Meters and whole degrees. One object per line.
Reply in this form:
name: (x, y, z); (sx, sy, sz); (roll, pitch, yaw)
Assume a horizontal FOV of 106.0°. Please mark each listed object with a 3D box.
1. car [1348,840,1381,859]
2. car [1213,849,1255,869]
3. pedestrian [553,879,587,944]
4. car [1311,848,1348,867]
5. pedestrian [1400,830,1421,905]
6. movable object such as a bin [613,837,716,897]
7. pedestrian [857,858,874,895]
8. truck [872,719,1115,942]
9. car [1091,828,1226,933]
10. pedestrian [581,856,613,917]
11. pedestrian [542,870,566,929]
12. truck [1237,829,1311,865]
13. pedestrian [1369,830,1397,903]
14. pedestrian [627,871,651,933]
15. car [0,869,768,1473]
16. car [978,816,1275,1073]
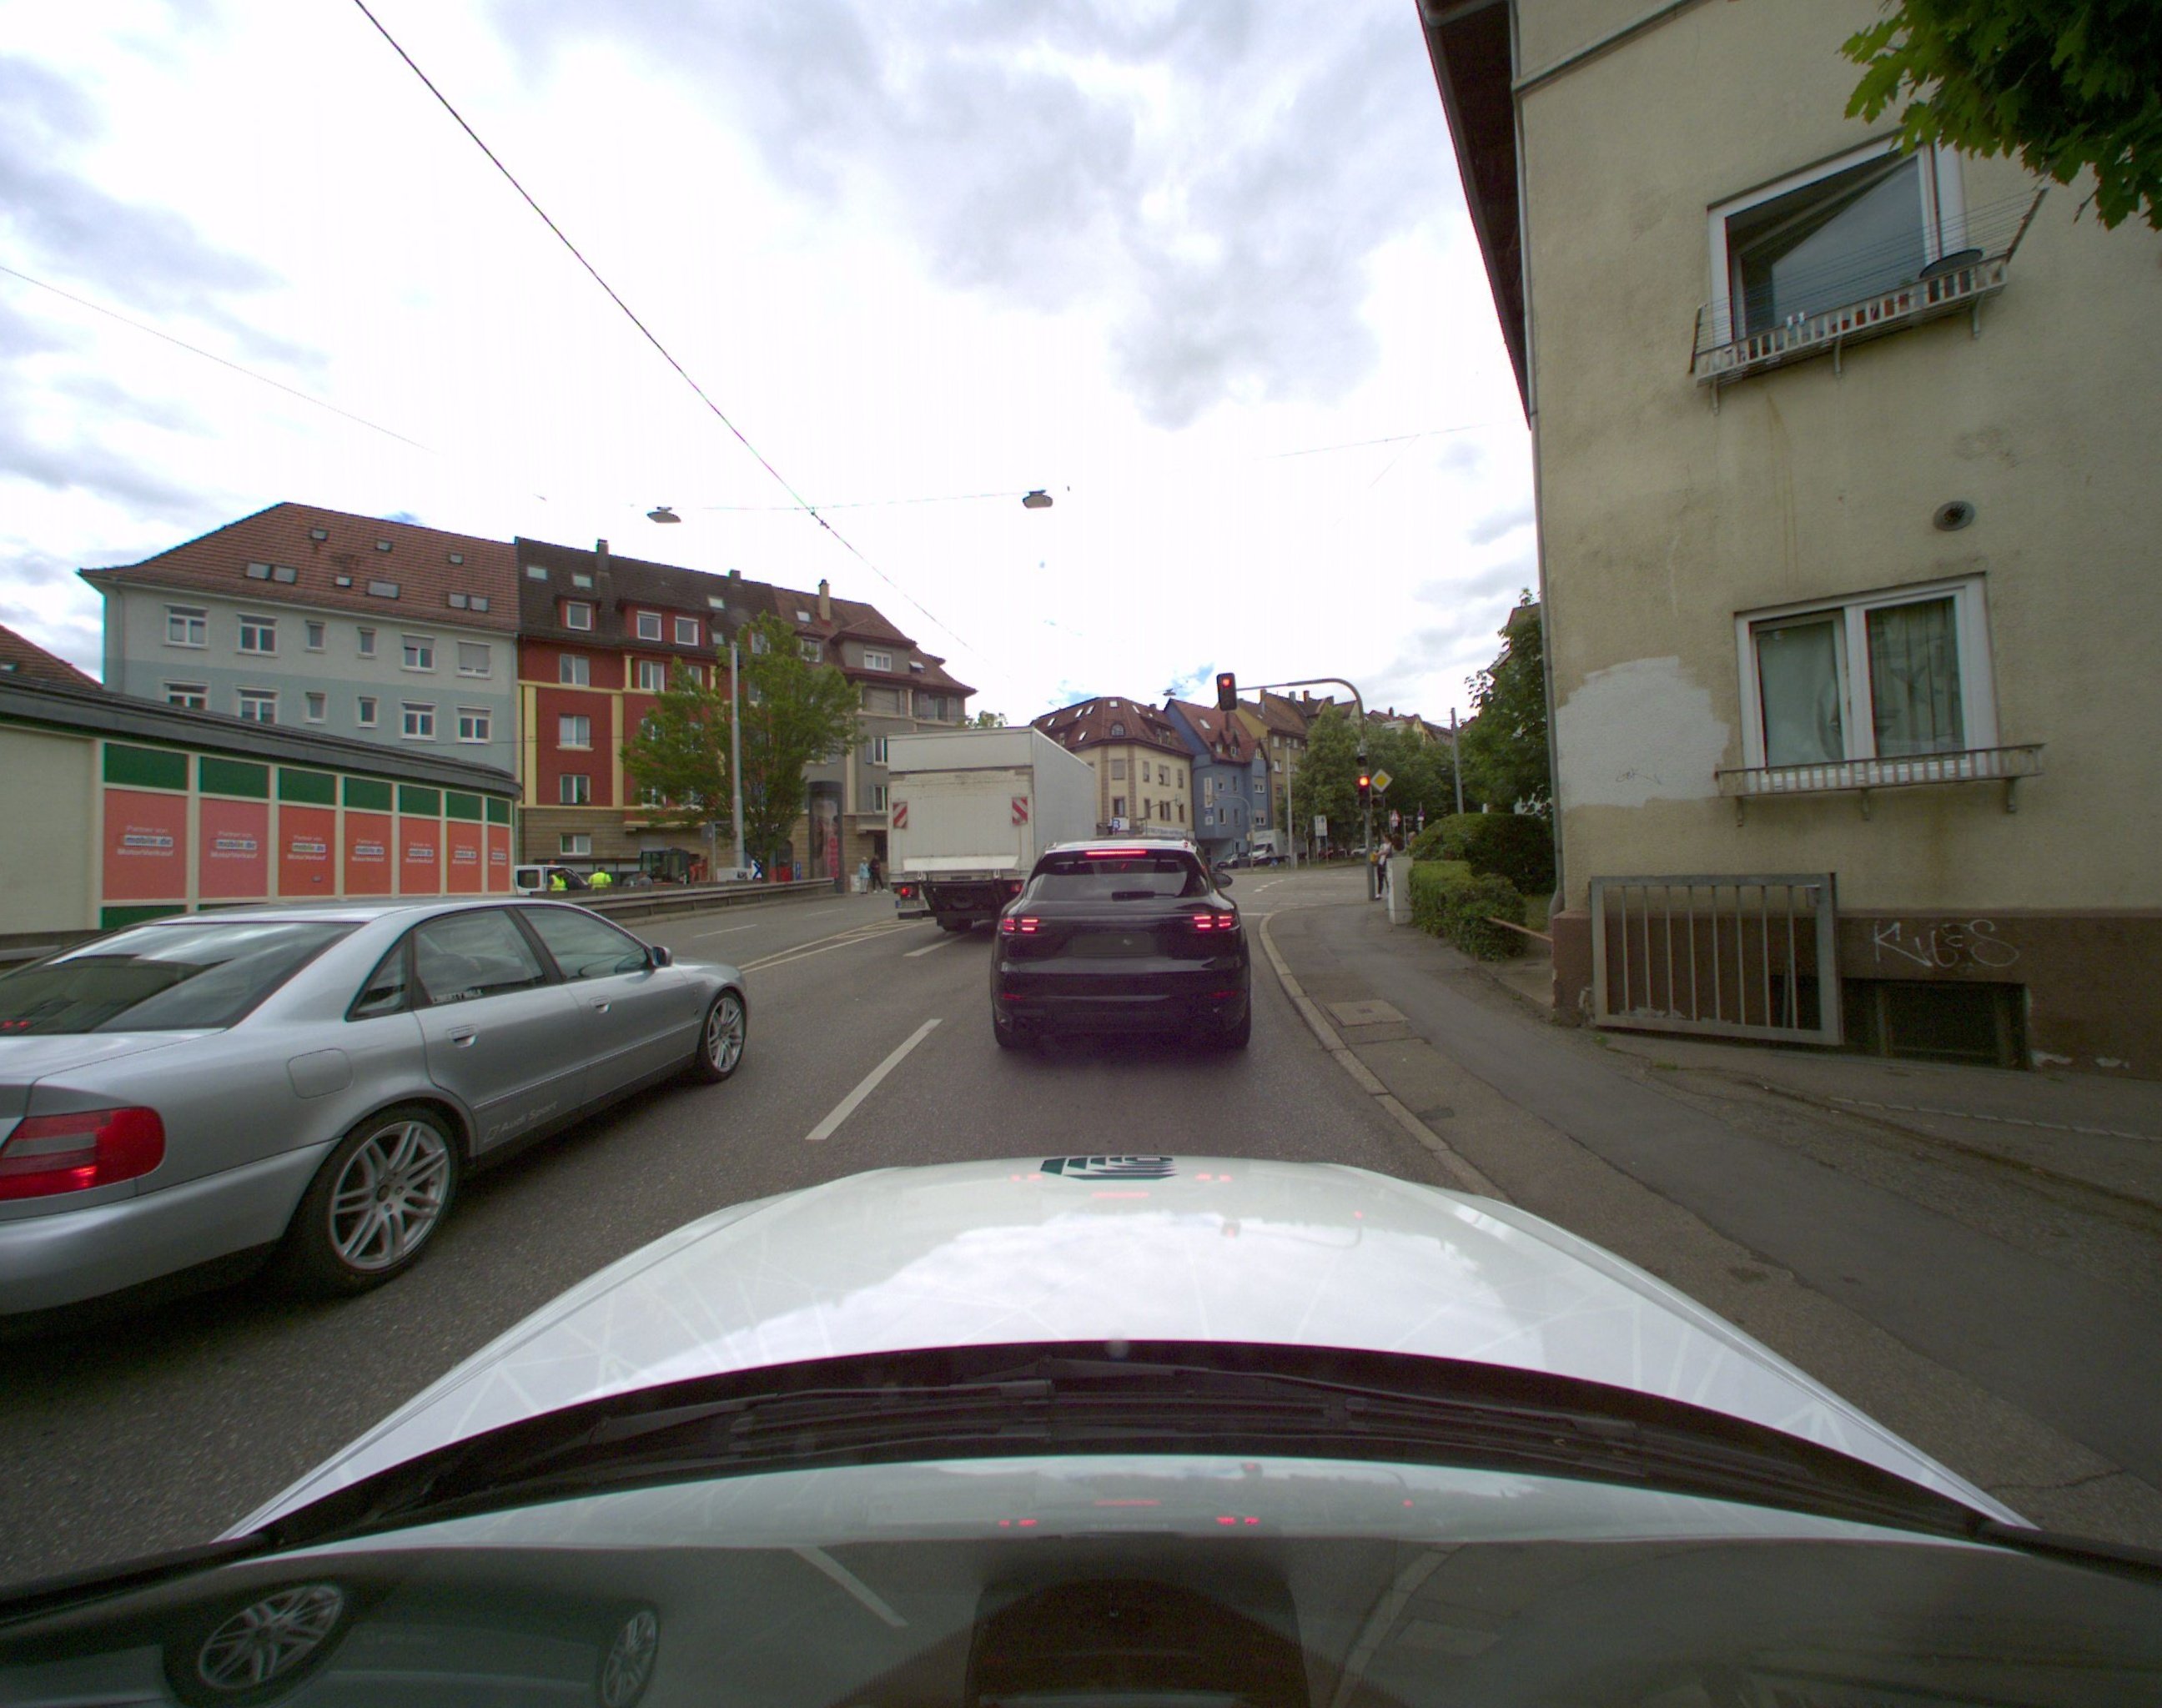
car: (31.732, -0.451, 91.201); (1.975, 2.014, 4.023); (0, -1, 45)
car: (13.479, 0.423, 71.732); (1.974, 1.684, 4.025); (-2, -1, 38)
pedestrian: (-13.707, 1.528, 21.849); (0.562, 1.700, 0.541); (1, -1, -10)
car: (26.162, 0.367, 85.697); (1.975, 2.014, 4.023); (0, -1, 45)
pedestrian: (8.150, 0.328, 20.147); (0.459, 1.837, 0.325); (0, -1, 16)
movable object such as a bin: (-13.296, 0.413, 26.271); (1.903, 1.771, 3.984); (1, 0, -11)
pedestrian: (-9.354, 0.970, 35.334); (0.587, 1.567, 0.486); (1, -1, 1)
truck: (-1.305, -0.394, 17.275); (2.751, 3.575, 8.090); (-1, 0, 11)
car: (1.581, 0.444, 15.159); (1.980, 1.684, 4.014); (-1, 0, 12)
pedestrian: (-14.257, 0.943, 23.991); (0.571, 1.761, 0.616); (1, -1, -8)
pedestrian: (-15.593, 1.334, 24.096); (0.479, 1.730, 0.536); (1, -1, -44)
truck: (18.646, -0.638, 78.195); (2.846, 3.340, 8.846); (0, 0, 43)
pedestrian: (7.599, 0.309, 20.503); (0.585, 1.819, 0.531); (1, -1, 13)
pedestrian: (-12.595, 1.363, 23.211); (0.545, 1.730, 0.587); (1, -1, -33)
car: (-3.313, 0.845, 4.130); (1.690, 1.373, 4.179); (-1, 1, 2)
car: (0.284, 0.589, 7.502); (1.973, 1.684, 3.998); (-1, 0, -1)
